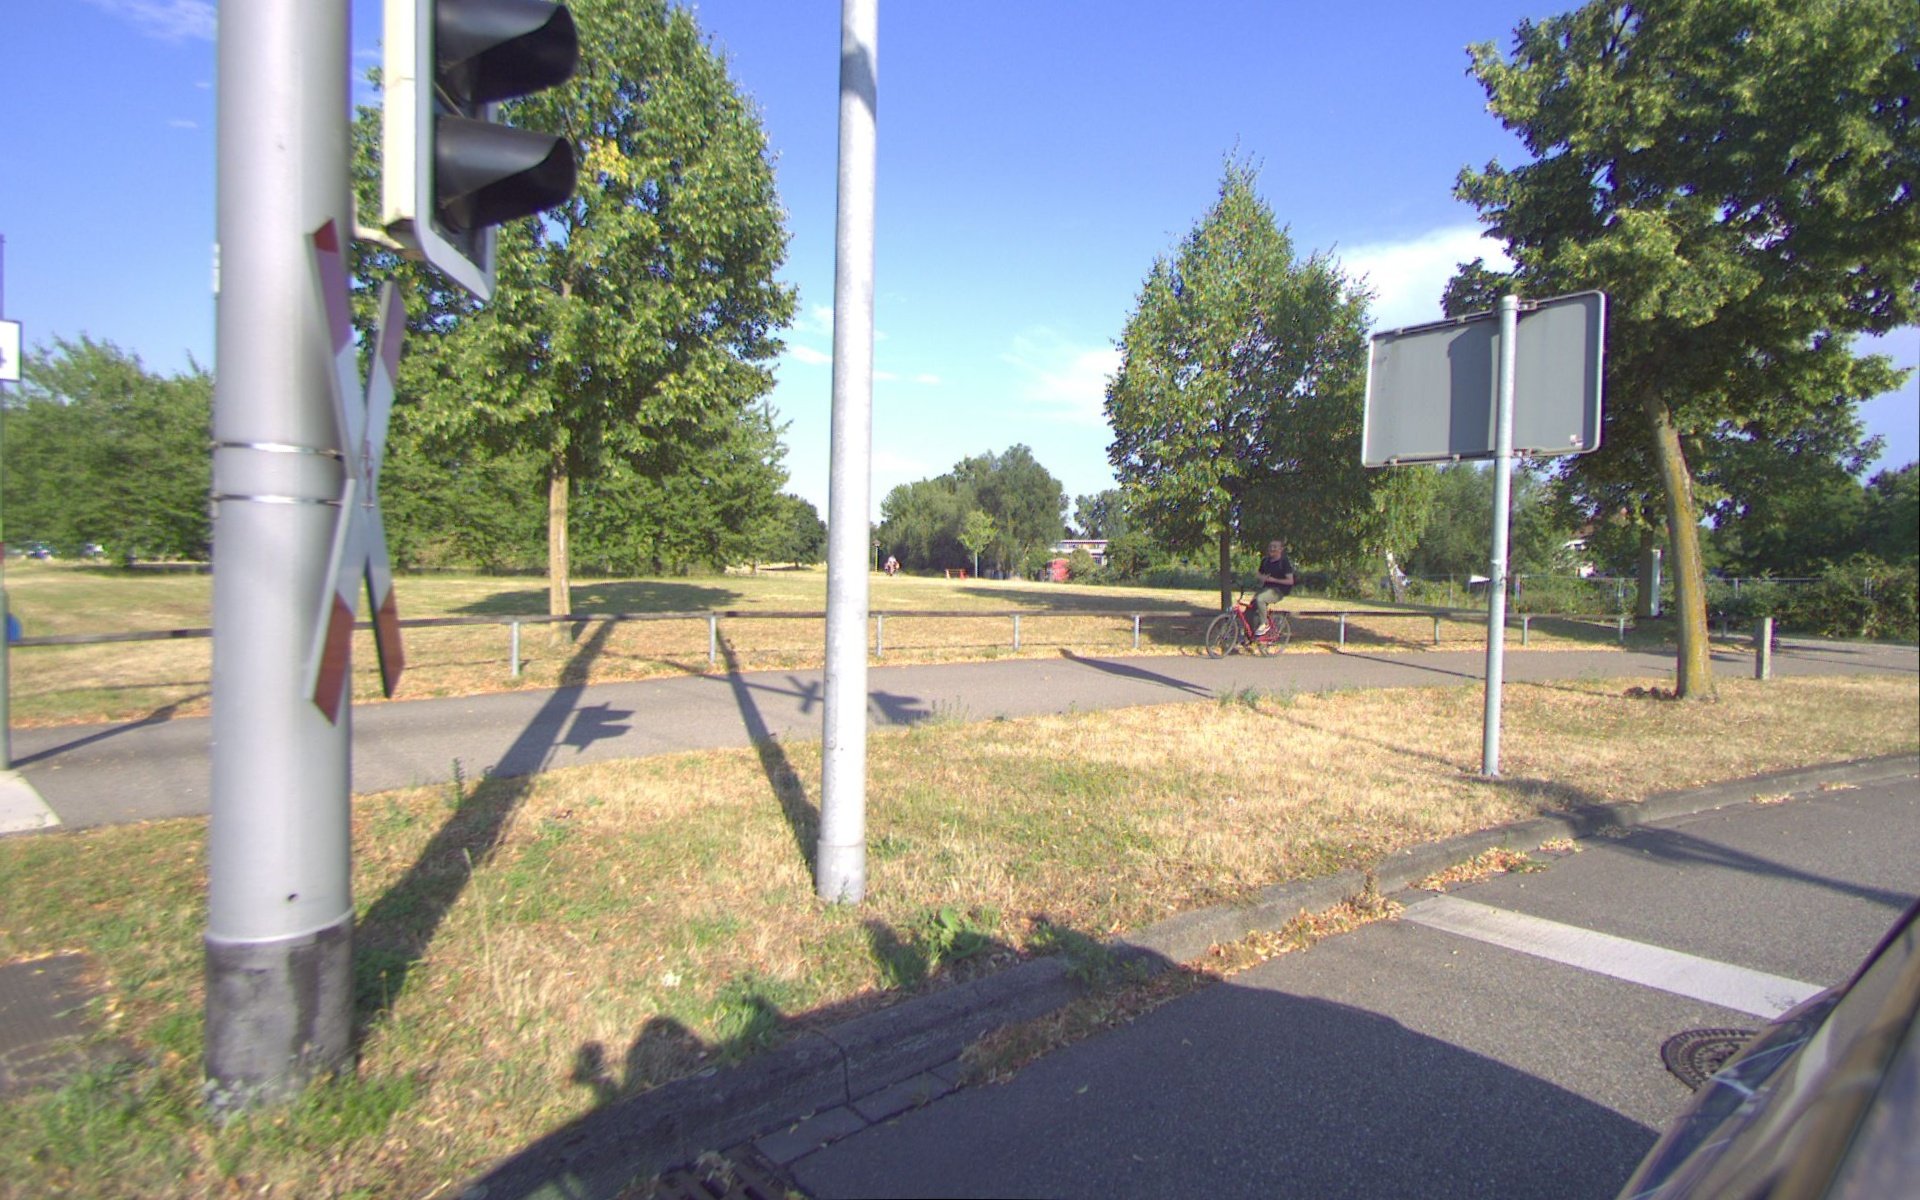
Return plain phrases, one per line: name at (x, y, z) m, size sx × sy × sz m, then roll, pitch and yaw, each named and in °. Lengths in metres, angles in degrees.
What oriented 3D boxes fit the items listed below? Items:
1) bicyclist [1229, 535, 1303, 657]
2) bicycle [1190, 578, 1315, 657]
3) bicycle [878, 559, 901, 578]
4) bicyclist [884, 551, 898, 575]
bicyclist at (4.753, -0.073, 15.745) m, size 0.813 × 1.852 × 0.622 m, roll 1°, pitch 3°, yaw -15°
bicycle at (4.526, 0.268, 15.654) m, size 1.851 × 1.172 × 0.417 m, roll 1°, pitch 2°, yaw -14°
bicycle at (-5.392, -2.426, 77.668) m, size 1.930 × 1.468 × 0.388 m, roll 0°, pitch 0°, yaw 34°
bicyclist at (-5.281, -2.852, 77.657) m, size 0.922 × 1.802 × 0.630 m, roll 0°, pitch 0°, yaw 34°
